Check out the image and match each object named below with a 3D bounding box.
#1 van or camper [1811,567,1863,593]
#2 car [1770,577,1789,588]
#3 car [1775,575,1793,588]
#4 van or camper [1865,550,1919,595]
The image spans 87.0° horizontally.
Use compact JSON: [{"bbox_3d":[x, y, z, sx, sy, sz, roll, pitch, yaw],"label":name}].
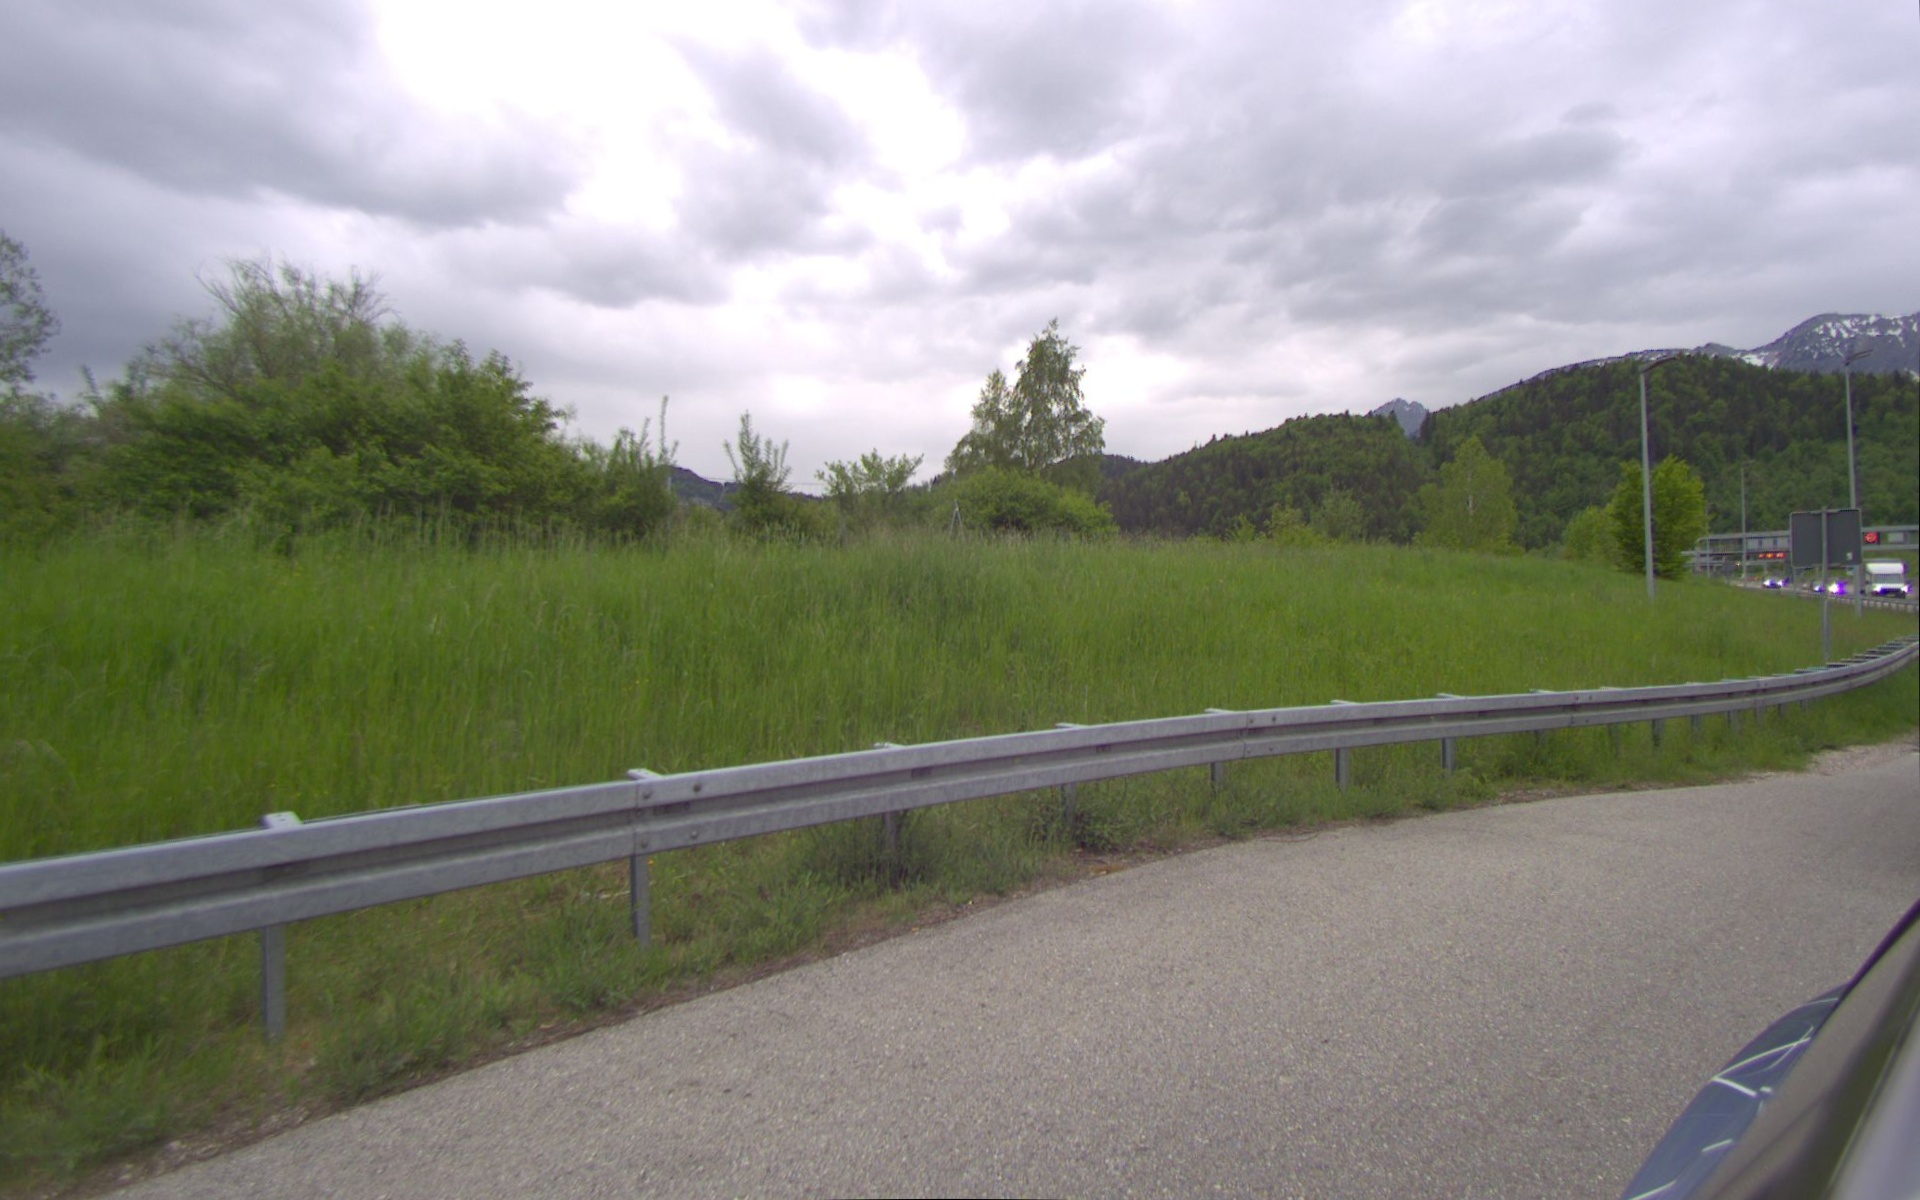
[{"bbox_3d":[92.108,-2.109,106.437,3.323,2.677,8.097,1,1,35],"label":"van or camper"},{"bbox_3d":[119.507,-2.574,147.591,1.710,1.659,4.295,1,2,34],"label":"car"},{"bbox_3d":[120.478,-2.753,148.004,1.858,1.895,3.946,1,2,37],"label":"car"},{"bbox_3d":[74.761,-2.194,80.945,2.566,3.434,7.266,1,1,34],"label":"van or camper"}]
